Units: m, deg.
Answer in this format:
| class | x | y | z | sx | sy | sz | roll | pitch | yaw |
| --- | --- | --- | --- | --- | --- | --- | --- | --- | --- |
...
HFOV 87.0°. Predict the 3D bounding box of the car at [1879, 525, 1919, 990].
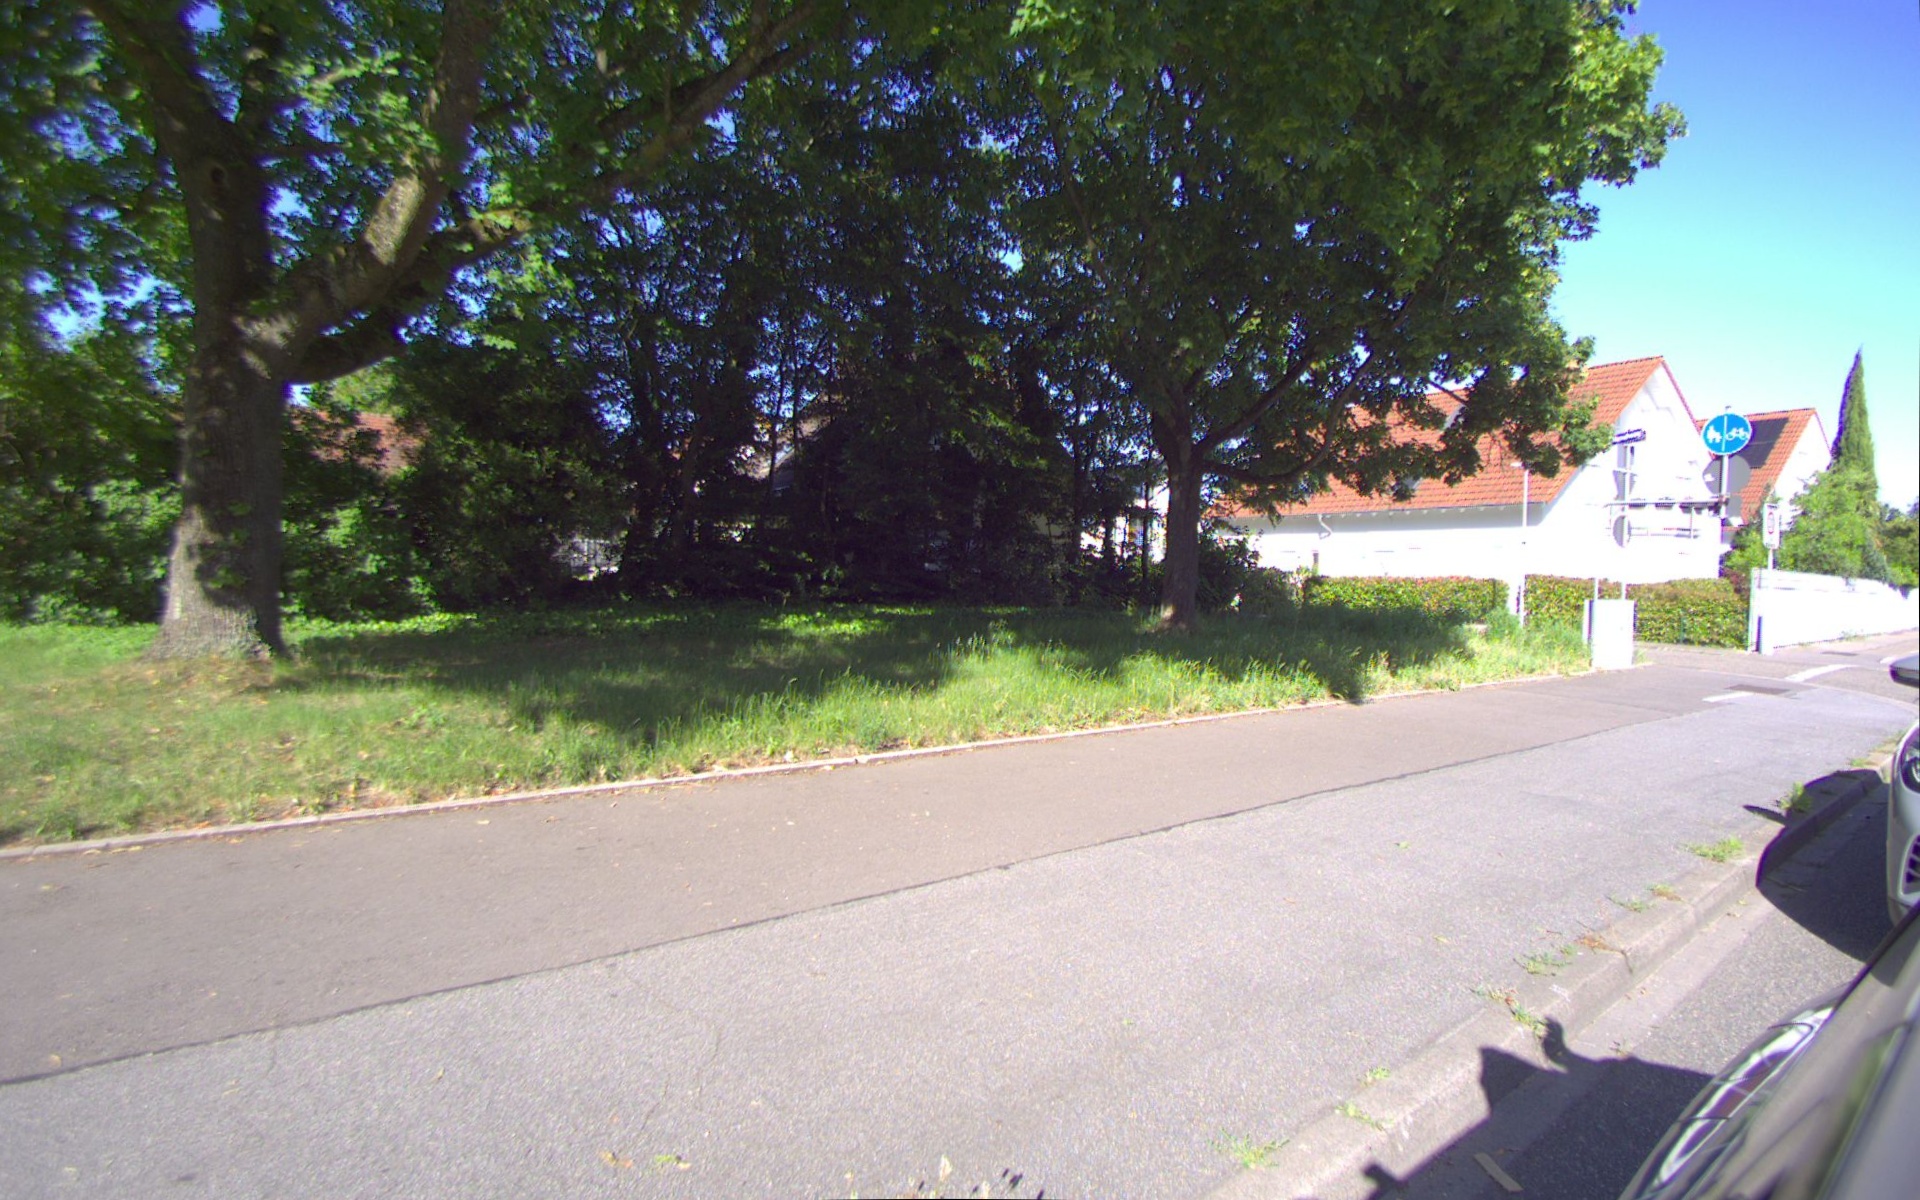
| class | x | y | z | sx | sy | sz | roll | pitch | yaw |
| --- | --- | --- | --- | --- | --- | --- | --- | --- | --- |
| car | 5.635 | 0.602 | 4.434 | 4.133 | 1.710 | 1.857 | 0 | 3 | -41 |
